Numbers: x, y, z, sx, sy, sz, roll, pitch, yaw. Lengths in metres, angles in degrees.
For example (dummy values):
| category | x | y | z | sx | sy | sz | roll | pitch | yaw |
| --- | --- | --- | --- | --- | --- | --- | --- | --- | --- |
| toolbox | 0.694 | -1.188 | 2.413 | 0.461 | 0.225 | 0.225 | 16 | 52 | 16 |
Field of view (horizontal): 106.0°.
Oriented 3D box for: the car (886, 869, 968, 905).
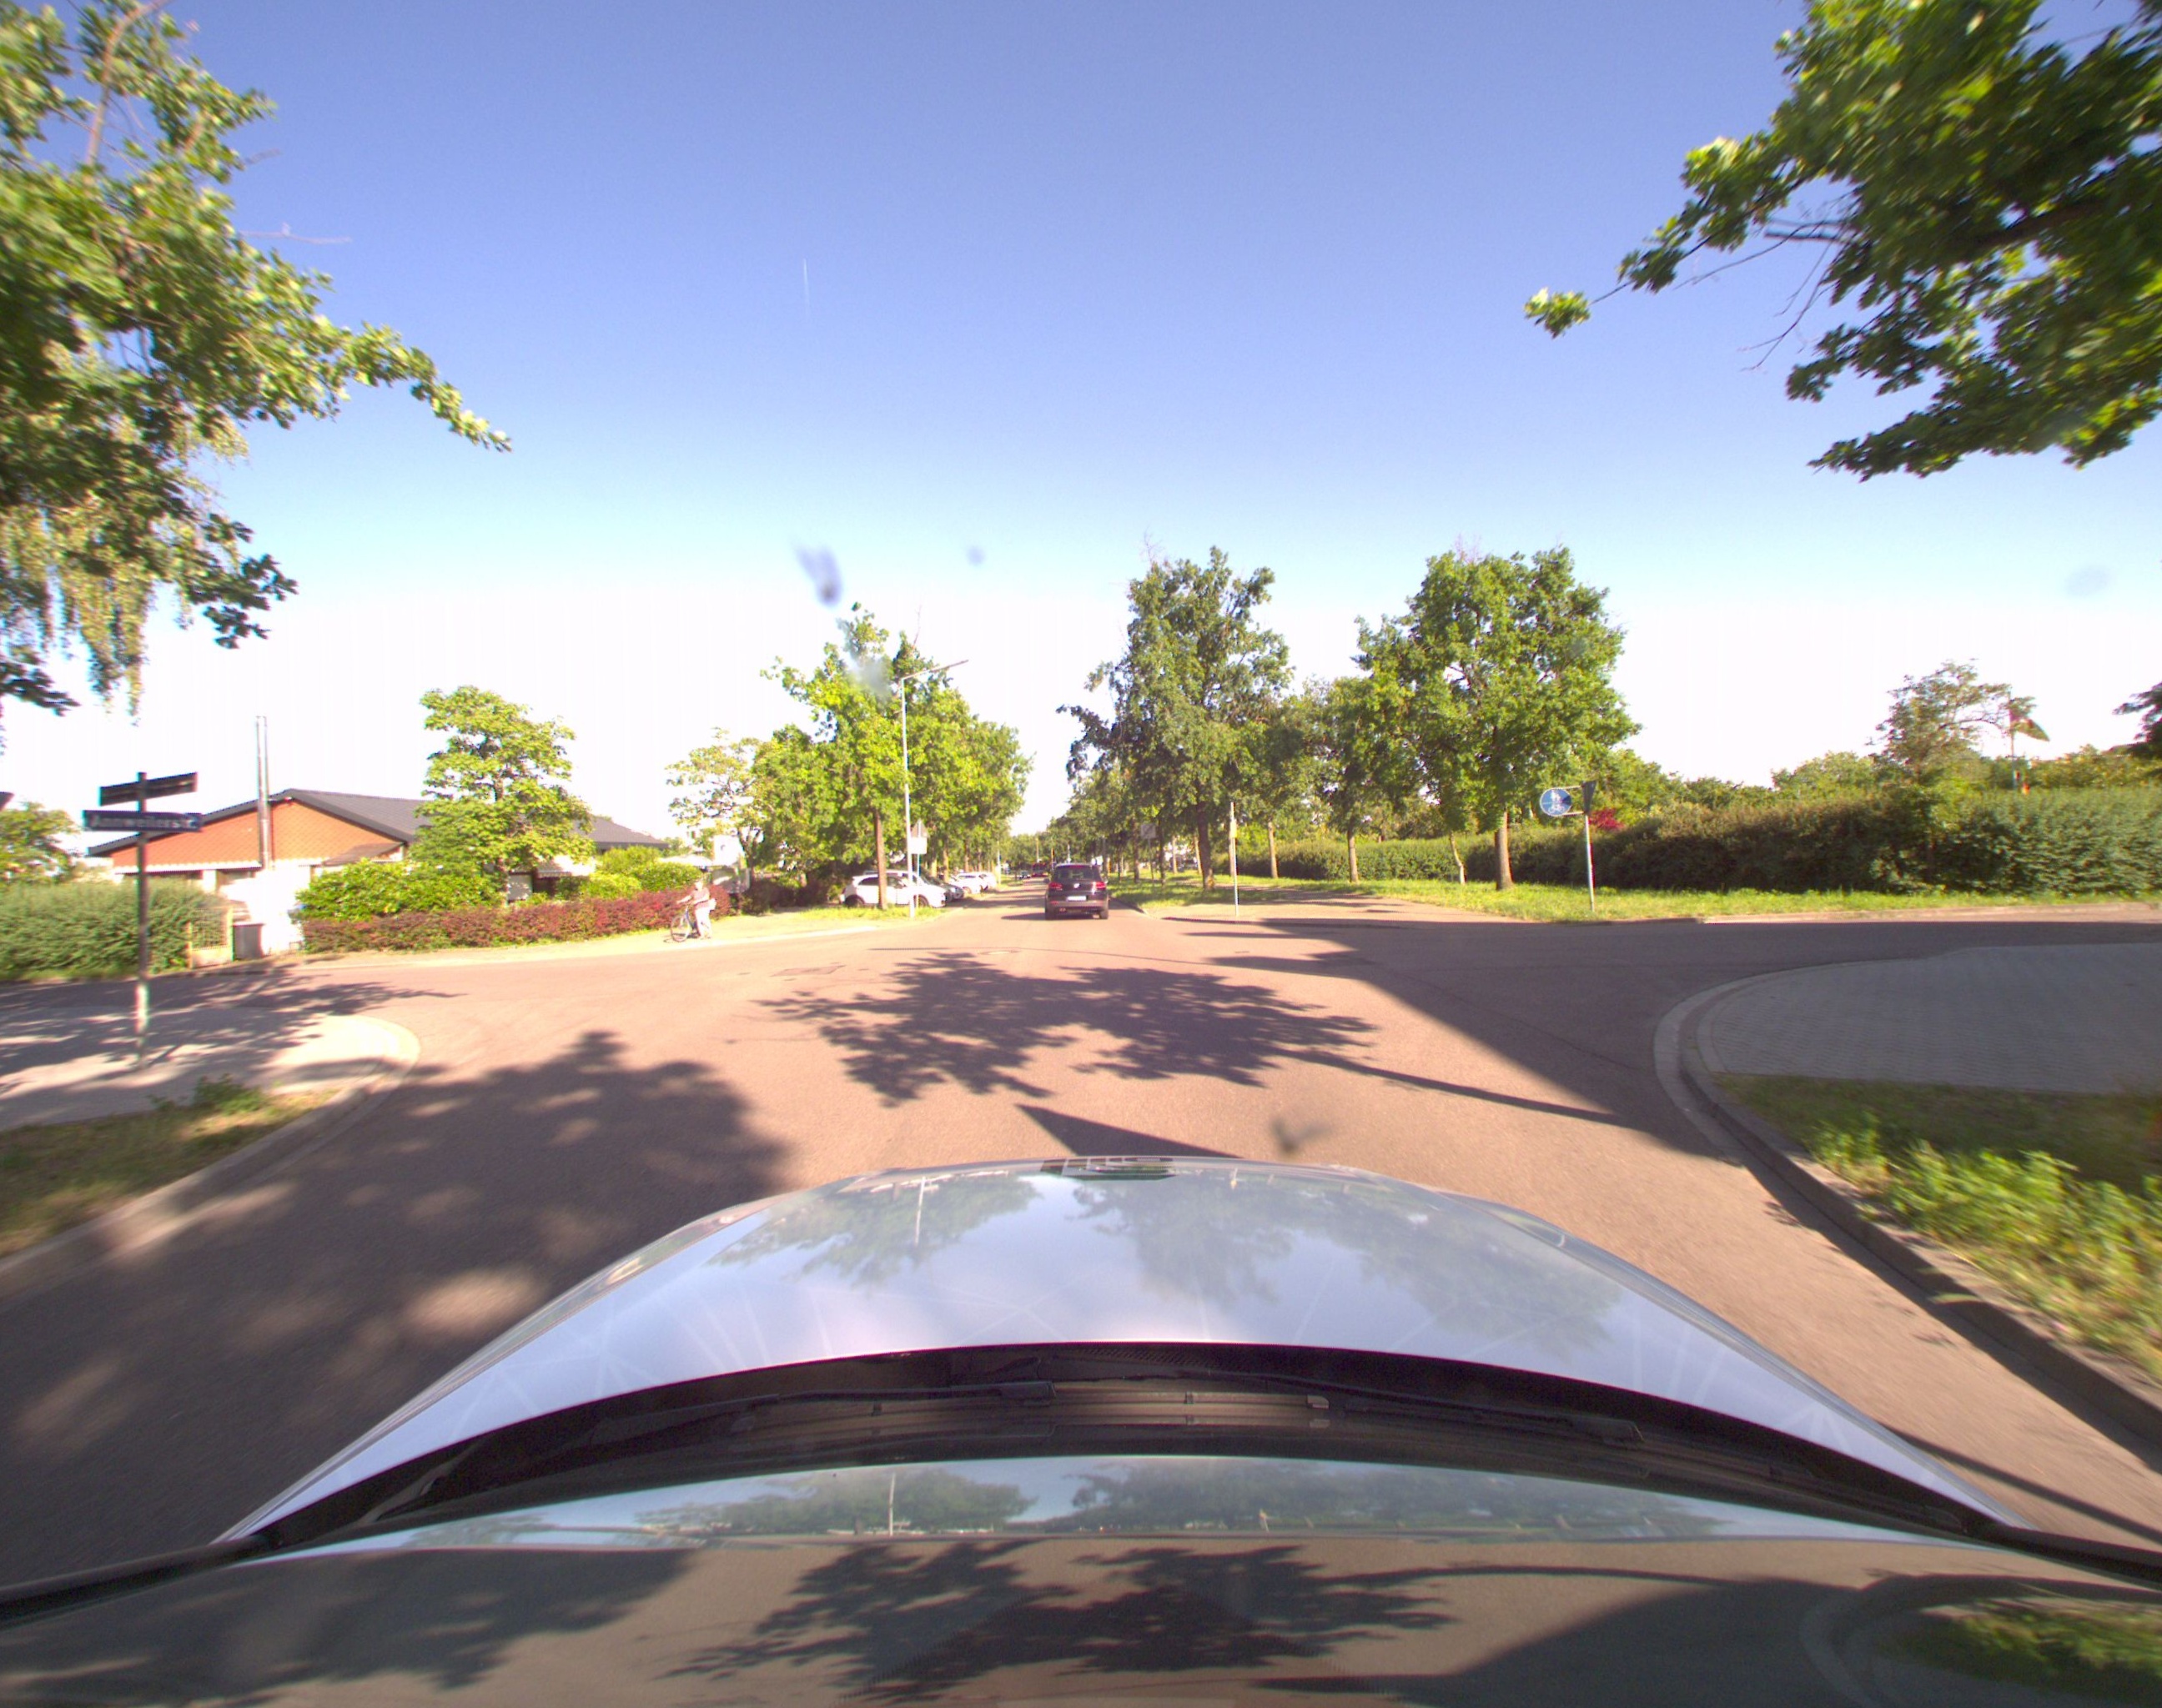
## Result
| category | x | y | z | sx | sy | sz | roll | pitch | yaw |
| --- | --- | --- | --- | --- | --- | --- | --- | --- | --- |
| car | -8.225 | 1.759 | 43.826 | 4.005 | 1.647 | 1.895 | -3 | -1 | -2 |

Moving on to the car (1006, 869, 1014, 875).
| category | x | y | z | sx | sy | sz | roll | pitch | yaw |
| --- | --- | --- | --- | --- | --- | --- | --- | --- | --- |
| car | -20.131 | 5.165 | 230.290 | 1.820 | 1.551 | 3.687 | -3 | 0 | -1 |

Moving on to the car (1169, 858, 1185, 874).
| category | x | y | z | sx | sy | sz | roll | pitch | yaw |
| --- | --- | --- | --- | --- | --- | --- | --- | --- | --- |
| car | 13.177 | 1.688 | 111.463 | 2.043 | 2.014 | 4.007 | -3 | -2 | 7 |

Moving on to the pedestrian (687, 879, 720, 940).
| category | x | y | z | sx | sy | sz | roll | pitch | yaw |
| --- | --- | --- | --- | --- | --- | --- | --- | --- | --- |
| pedestrian | -9.965 | 1.448 | 21.520 | 0.439 | 1.557 | 0.801 | -3 | -2 | 2 |

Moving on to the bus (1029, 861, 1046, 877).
| category | x | y | z | sx | sy | sz | roll | pitch | yaw |
| --- | --- | --- | --- | --- | --- | --- | --- | --- | --- |
| bus | -8.656 | 3.072 | 163.015 | 2.920 | 3.004 | 5.734 | -3 | -2 | -1 |

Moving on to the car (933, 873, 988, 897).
| category | x | y | z | sx | sy | sz | roll | pitch | yaw |
| --- | --- | --- | --- | --- | --- | --- | --- | --- | --- |
| car | -9.474 | 2.450 | 64.375 | 4.005 | 1.648 | 1.810 | -2 | -1 | -2 |

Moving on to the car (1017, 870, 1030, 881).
| category | x | y | z | sx | sy | sz | roll | pitch | yaw |
| --- | --- | --- | --- | --- | --- | --- | --- | --- | --- |
| car | -9.695 | 3.644 | 138.171 | 1.847 | 1.693 | 3.953 | -3 | -2 | -1 |

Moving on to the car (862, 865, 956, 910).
| category | x | y | z | sx | sy | sz | roll | pitch | yaw |
| --- | --- | --- | --- | --- | --- | --- | --- | --- | --- |
| car | -8.160 | 1.571 | 38.847 | 4.005 | 1.840 | 1.895 | -3 | -1 | -2 |

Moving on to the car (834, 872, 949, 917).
| category | x | y | z | sx | sy | sz | roll | pitch | yaw |
| --- | --- | --- | --- | --- | --- | --- | --- | --- | --- |
| car | -7.707 | 1.641 | 33.429 | 4.230 | 1.623 | 1.895 | -2 | -1 | -2 |

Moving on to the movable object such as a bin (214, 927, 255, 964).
| category | x | y | z | sx | sy | sz | roll | pitch | yaw |
| --- | --- | --- | --- | --- | --- | --- | --- | --- | --- |
| movable object such as a bin | -22.902 | 2.471 | 22.025 | 0.608 | 0.936 | 0.502 | -3 | -1 | 13 |

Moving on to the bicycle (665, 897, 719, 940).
| category | x | y | z | sx | sy | sz | roll | pitch | yaw |
| --- | --- | --- | --- | --- | --- | --- | --- | --- | --- |
| bicycle | -10.398 | 1.709 | 21.825 | 0.445 | 1.039 | 1.893 | -3 | -1 | 2 |

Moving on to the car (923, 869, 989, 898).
| category | x | y | z | sx | sy | sz | roll | pitch | yaw |
| --- | --- | --- | --- | --- | --- | --- | --- | --- | --- |
| car | -8.218 | 1.935 | 53.794 | 4.005 | 1.648 | 1.810 | -2 | -1 | -2 |

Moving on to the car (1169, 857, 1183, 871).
| category | x | y | z | sx | sy | sz | roll | pitch | yaw |
| --- | --- | --- | --- | --- | --- | --- | --- | --- | --- |
| car | 14.230 | 1.530 | 121.929 | 1.983 | 2.013 | 4.007 | -3 | -1 | 7 |

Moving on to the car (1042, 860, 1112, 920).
| category | x | y | z | sx | sy | sz | roll | pitch | yaw |
| --- | --- | --- | --- | --- | --- | --- | --- | --- | --- |
| car | -0.043 | 1.035 | 24.799 | 1.830 | 1.636 | 3.961 | -2 | -1 | 4 |

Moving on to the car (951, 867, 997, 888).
| category | x | y | z | sx | sy | sz | roll | pitch | yaw |
| --- | --- | --- | --- | --- | --- | --- | --- | --- | --- |
| car | -9.795 | 2.133 | 74.795 | 4.005 | 1.647 | 1.810 | -3 | -1 | -2 |
